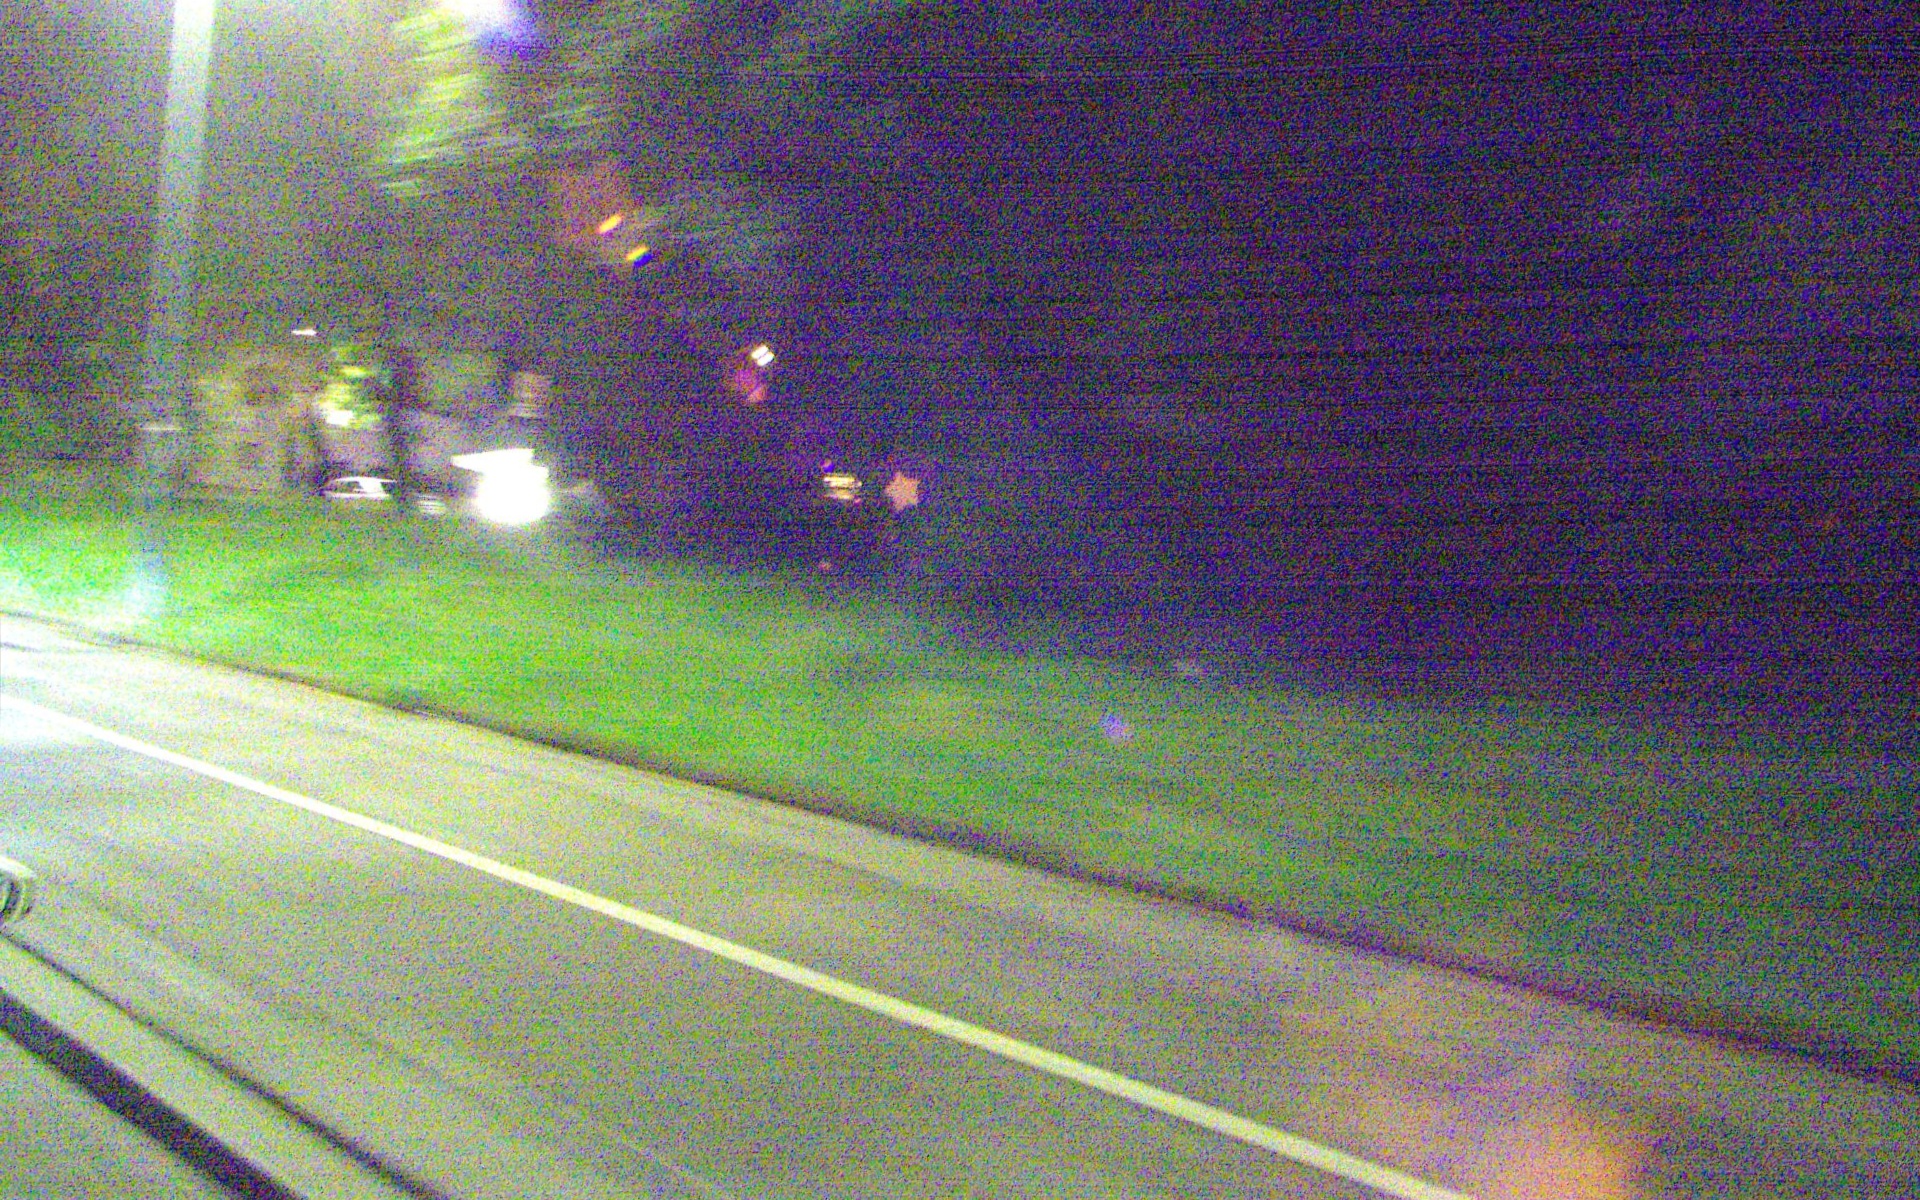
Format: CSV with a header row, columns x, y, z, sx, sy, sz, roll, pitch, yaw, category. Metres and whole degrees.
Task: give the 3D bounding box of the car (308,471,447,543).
x,y,z,sx,sy,sz,roll,pitch,yaw,category
-18.181,-2.913,31.357,4.044,1.863,1.951,7,4,30,car
